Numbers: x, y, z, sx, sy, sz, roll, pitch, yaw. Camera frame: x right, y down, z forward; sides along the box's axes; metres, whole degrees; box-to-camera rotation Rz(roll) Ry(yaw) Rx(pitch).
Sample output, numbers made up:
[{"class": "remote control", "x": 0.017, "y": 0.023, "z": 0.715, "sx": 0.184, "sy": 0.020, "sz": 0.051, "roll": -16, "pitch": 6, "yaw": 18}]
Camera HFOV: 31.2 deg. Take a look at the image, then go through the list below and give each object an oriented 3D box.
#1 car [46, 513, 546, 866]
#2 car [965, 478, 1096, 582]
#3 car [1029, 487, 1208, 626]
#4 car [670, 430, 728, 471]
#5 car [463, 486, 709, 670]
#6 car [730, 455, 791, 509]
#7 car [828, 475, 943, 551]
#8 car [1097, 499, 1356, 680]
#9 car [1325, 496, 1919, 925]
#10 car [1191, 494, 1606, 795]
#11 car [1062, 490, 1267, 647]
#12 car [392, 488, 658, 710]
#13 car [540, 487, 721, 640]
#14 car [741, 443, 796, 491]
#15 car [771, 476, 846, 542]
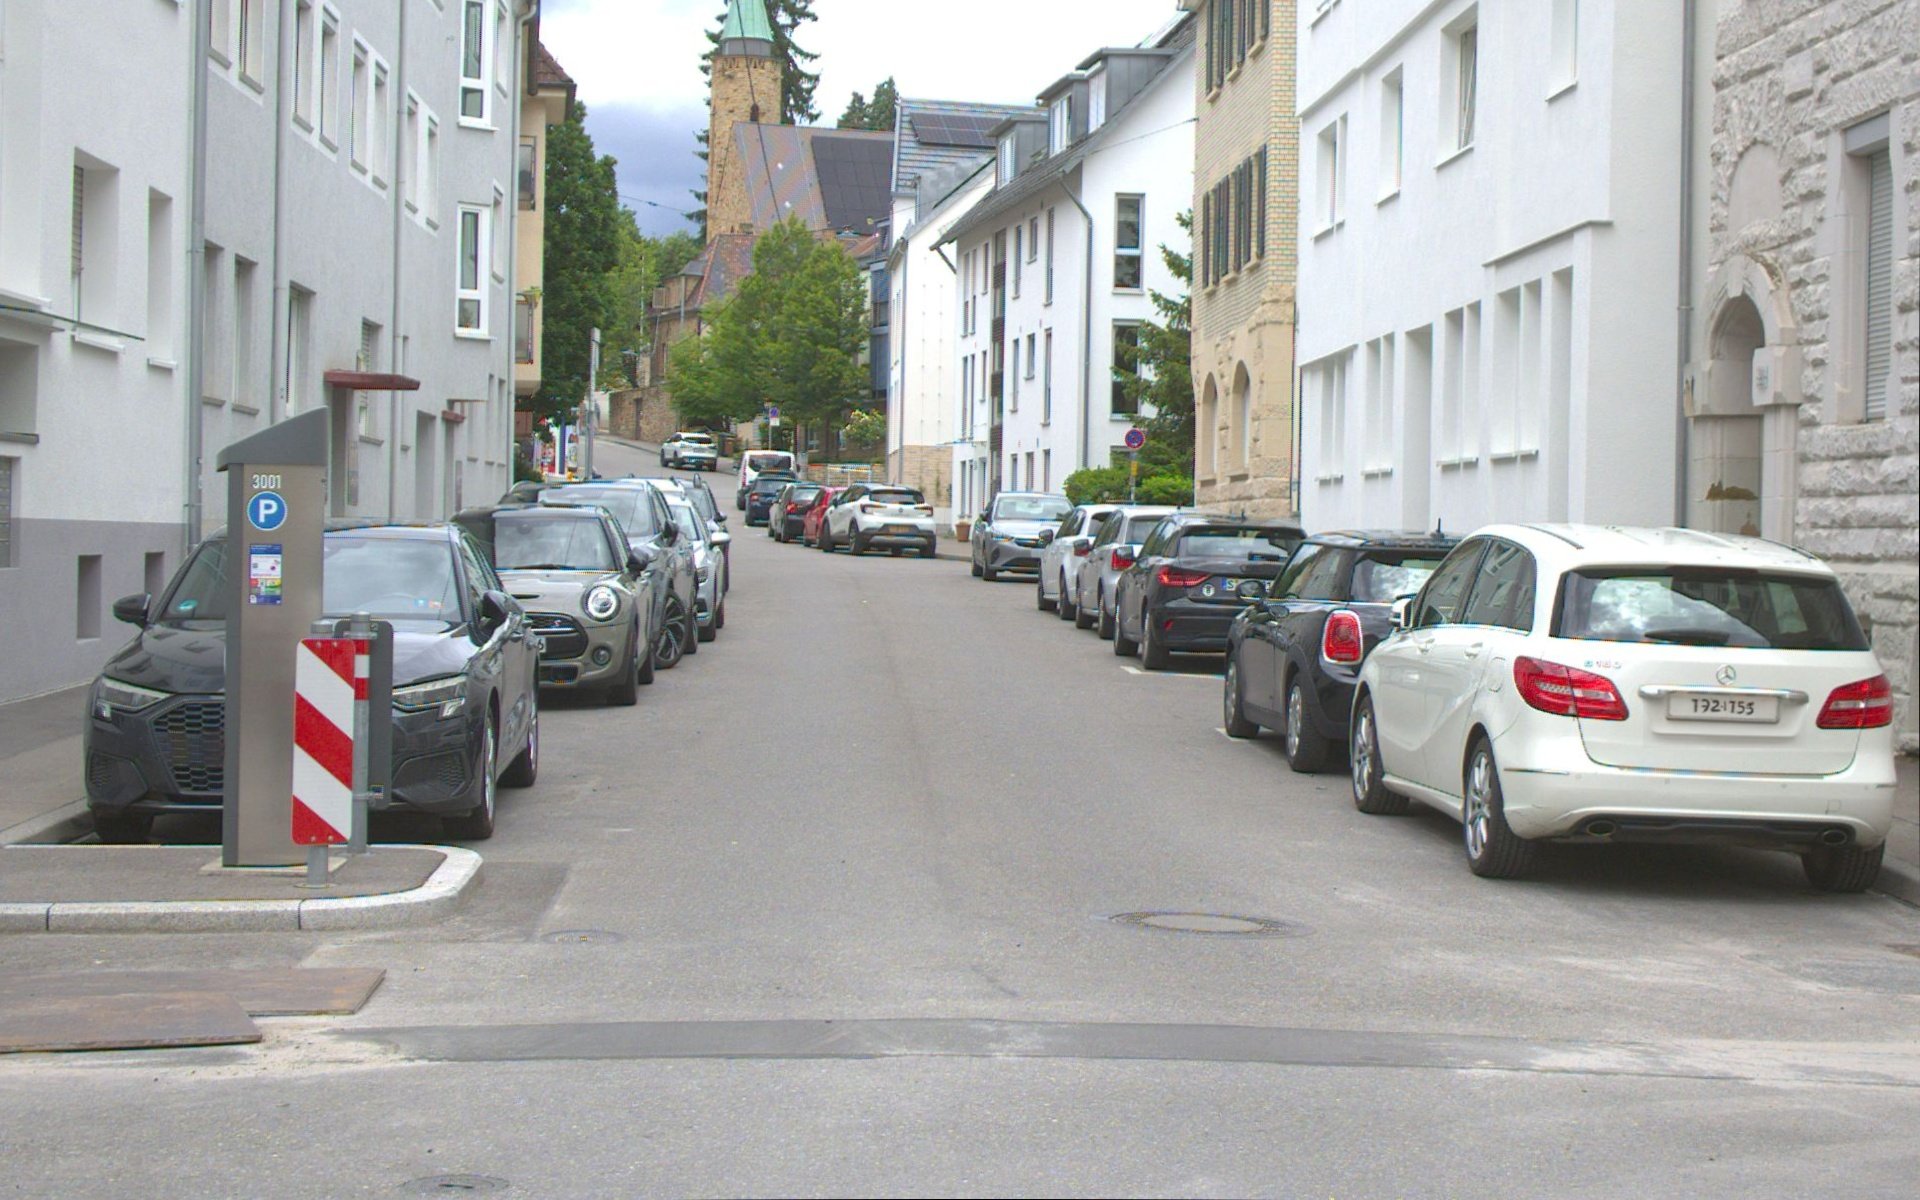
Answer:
[{"class": "car", "x": -3.027, "y": 0.324, "z": 16.482, "sx": 1.820, "sy": 1.386, "sz": 4.299, "roll": 1, "pitch": 2, "yaw": -4}, {"class": "car", "x": 1.112, "y": -1.164, "z": 55.664, "sx": 1.667, "sy": 1.474, "sz": 3.627, "roll": 3, "pitch": 3, "yaw": -5}, {"class": "car", "x": 1.911, "y": -0.573, "z": 42.369, "sx": 1.667, "sy": 1.474, "sz": 3.627, "roll": 3, "pitch": 3, "yaw": -5}, {"class": "car", "x": -11.565, "y": -6.645, "z": 152.259, "sx": 2.181, "sy": 1.687, "sz": 3.627, "roll": 2, "pitch": 3, "yaw": -10}, {"class": "car", "x": -3.222, "y": -0.242, "z": 30.226, "sx": 1.730, "sy": 1.464, "sz": 3.720, "roll": 1, "pitch": 2, "yaw": 0}, {"class": "car", "x": -5.927, "y": -3.521, "z": 101.779, "sx": 1.667, "sy": 1.474, "sz": 3.627, "roll": 2, "pitch": 3, "yaw": -5}, {"class": "car", "x": -1.628, "y": -1.889, "z": 73.952, "sx": 1.783, "sy": 1.474, "sz": 3.627, "roll": 2, "pitch": 3, "yaw": -12}, {"class": "car", "x": 2.373, "y": -0.146, "z": 31.533, "sx": 1.667, "sy": 1.380, "sz": 4.029, "roll": 3, "pitch": 3, "yaw": -5}, {"class": "car", "x": 3.044, "y": 0.405, "z": 16.178, "sx": 1.820, "sy": 1.593, "sz": 4.029, "roll": 3, "pitch": 3, "yaw": -5}, {"class": "car", "x": 2.608, "y": 0.195, "z": 21.386, "sx": 1.667, "sy": 1.527, "sz": 4.029, "roll": 3, "pitch": 3, "yaw": -5}, {"class": "car", "x": 2.196, "y": -0.386, "z": 37.790, "sx": 1.667, "sy": 1.474, "sz": 3.627, "roll": 3, "pitch": 3, "yaw": -5}, {"class": "car", "x": -3.164, "y": -0.064, "z": 25.608, "sx": 1.730, "sy": 1.484, "sz": 3.720, "roll": 1, "pitch": 2, "yaw": -4}, {"class": "car", "x": -3.356, "y": -0.416, "z": 35.495, "sx": 1.730, "sy": 1.443, "sz": 3.720, "roll": 1, "pitch": 2, "yaw": -4}, {"class": "car", "x": -6.330, "y": -4.392, "z": 113.376, "sx": 1.667, "sy": 1.474, "sz": 3.627, "roll": 2, "pitch": 3, "yaw": -5}, {"class": "car", "x": -3.767, "y": -2.268, "z": 84.936, "sx": 1.667, "sy": 1.474, "sz": 3.627, "roll": 2, "pitch": 3, "yaw": -5}]
